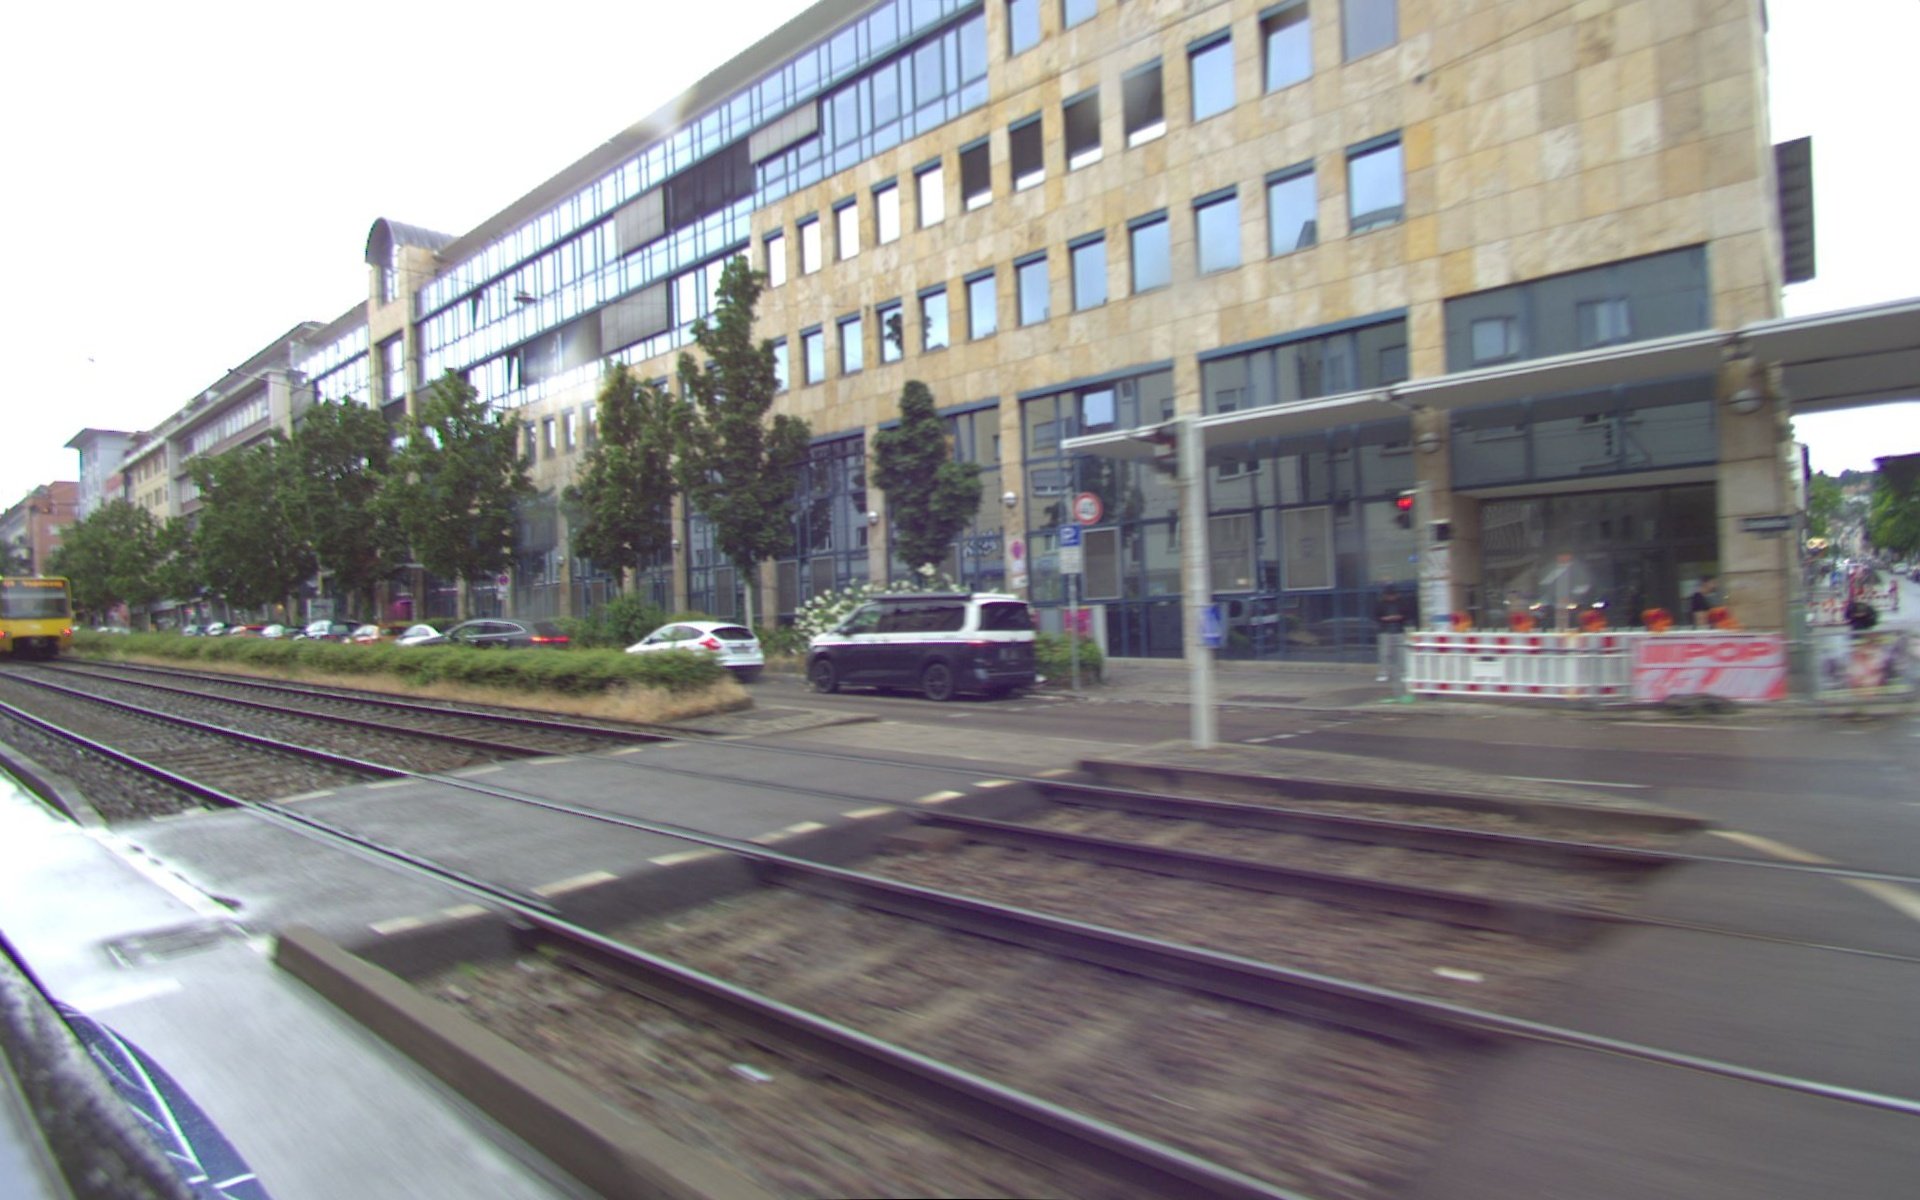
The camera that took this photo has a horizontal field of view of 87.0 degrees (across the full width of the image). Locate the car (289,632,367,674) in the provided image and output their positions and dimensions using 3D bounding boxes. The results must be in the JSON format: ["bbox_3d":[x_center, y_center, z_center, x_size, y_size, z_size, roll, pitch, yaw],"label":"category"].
[{"bbox_3d":[-26.339,2.181,42.109,4.291,1.613,1.632,-3,-2,42],"label":"car"}]

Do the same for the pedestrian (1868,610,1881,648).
[{"bbox_3d":[40.079,1.270,44.353,0.308,1.657,0.306,-4,-2,40],"label":"pedestrian"}]

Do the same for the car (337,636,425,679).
[{"bbox_3d":[-22.018,2.167,38.451,4.291,1.509,1.632,-3,-2,42],"label":"car"}]

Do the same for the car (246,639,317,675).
[{"bbox_3d":[-31.204,2.610,46.512,4.620,1.552,1.632,-3,-2,42],"label":"car"}]

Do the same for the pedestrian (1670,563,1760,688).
[{"bbox_3d":[11.207,0.377,15.039,0.667,1.794,0.705,-2,-2,-14],"label":"pedestrian"}]

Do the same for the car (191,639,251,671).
[{"bbox_3d":[-39.096,2.907,53.526,4.620,1.552,1.632,-3,-2,42],"label":"car"}]

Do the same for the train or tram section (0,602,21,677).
[{"bbox_3d":[-59.538,2.405,60.690,18.402,4.081,2.872,-2,-2,41],"label":"train or tram section"}]

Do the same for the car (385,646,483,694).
[{"bbox_3d":[-18.120,2.366,34.786,4.191,1.509,1.632,-3,-2,42],"label":"car"}]

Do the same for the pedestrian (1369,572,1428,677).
[{"bbox_3d":[7.838,0.437,18.102,0.679,1.828,0.693,-4,-2,44],"label":"pedestrian"}]

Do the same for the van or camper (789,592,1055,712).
[{"bbox_3d":[-0.869,0.938,19.683,5.195,2.012,1.996,-2,-1,42],"label":"van or camper"}]

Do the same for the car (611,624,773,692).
[{"bbox_3d":[-6.634,1.429,24.816,4.252,1.497,1.672,-4,-2,40],"label":"car"}]

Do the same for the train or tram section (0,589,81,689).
[{"bbox_3d":[-45.628,1.865,48.441,18.758,4.081,2.872,-2,-2,41],"label":"train or tram section"}]

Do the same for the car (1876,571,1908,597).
[{"bbox_3d":[75.489,-1.297,82.022,1.655,2.029,3.438,-4,-2,40],"label":"car"}]

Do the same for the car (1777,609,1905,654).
[{"bbox_3d":[40.799,1.469,46.953,1.966,1.940,4.012,-2,-1,-31],"label":"car"}]

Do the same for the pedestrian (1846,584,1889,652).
[{"bbox_3d":[22.399,0.449,24.986,0.703,1.649,0.573,-4,-2,42],"label":"pedestrian"}]

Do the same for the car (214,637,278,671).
[{"bbox_3d":[-35.521,2.682,50.316,4.620,1.552,1.632,-3,-2,42],"label":"car"}]
